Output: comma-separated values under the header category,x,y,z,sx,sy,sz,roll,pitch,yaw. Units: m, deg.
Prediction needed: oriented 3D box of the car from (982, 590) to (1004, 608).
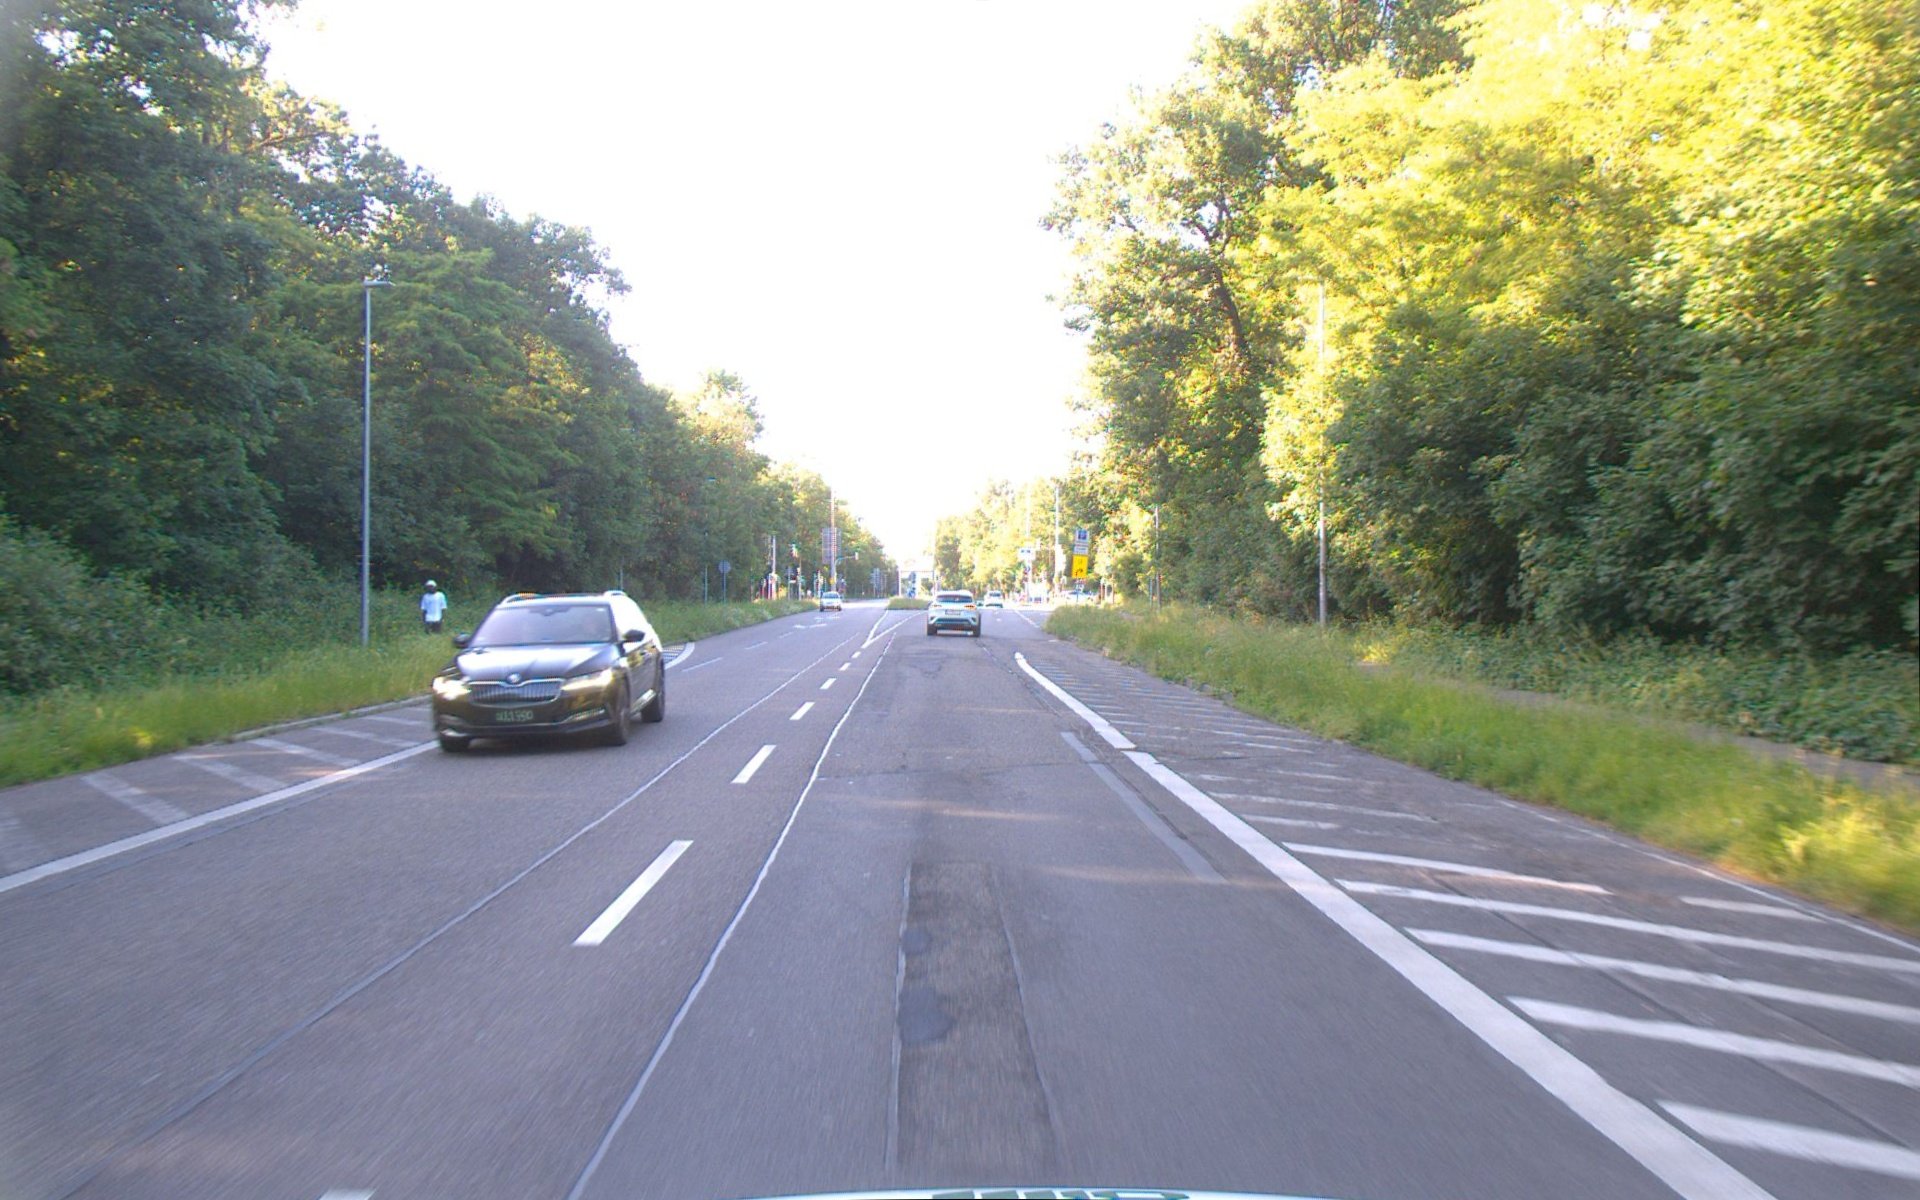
category,x,y,z,sx,sy,sz,roll,pitch,yaw
car,3.161,-0.142,158.626,1.953,1.646,4.000,1,0,-1

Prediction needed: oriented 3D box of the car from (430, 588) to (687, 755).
category,x,y,z,sx,sy,sz,roll,pitch,yaw
car,-4.083,0.646,17.572,1.644,1.516,4.688,-1,0,-1

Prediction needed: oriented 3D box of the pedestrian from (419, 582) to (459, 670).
category,x,y,z,sx,sy,sz,roll,pitch,yaw
pedestrian,-12.369,0.618,39.290,0.679,2.049,0.712,1,0,-1

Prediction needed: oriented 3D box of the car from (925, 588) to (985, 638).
category,x,y,z,sx,sy,sz,roll,pitch,yaw
car,-0.211,0.411,56.942,1.953,1.668,3.999,0,0,-2

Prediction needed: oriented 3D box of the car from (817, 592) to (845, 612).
category,x,y,z,sx,sy,sz,roll,pitch,yaw
car,-10.334,0.147,132.567,1.953,1.489,3.999,1,0,-2
